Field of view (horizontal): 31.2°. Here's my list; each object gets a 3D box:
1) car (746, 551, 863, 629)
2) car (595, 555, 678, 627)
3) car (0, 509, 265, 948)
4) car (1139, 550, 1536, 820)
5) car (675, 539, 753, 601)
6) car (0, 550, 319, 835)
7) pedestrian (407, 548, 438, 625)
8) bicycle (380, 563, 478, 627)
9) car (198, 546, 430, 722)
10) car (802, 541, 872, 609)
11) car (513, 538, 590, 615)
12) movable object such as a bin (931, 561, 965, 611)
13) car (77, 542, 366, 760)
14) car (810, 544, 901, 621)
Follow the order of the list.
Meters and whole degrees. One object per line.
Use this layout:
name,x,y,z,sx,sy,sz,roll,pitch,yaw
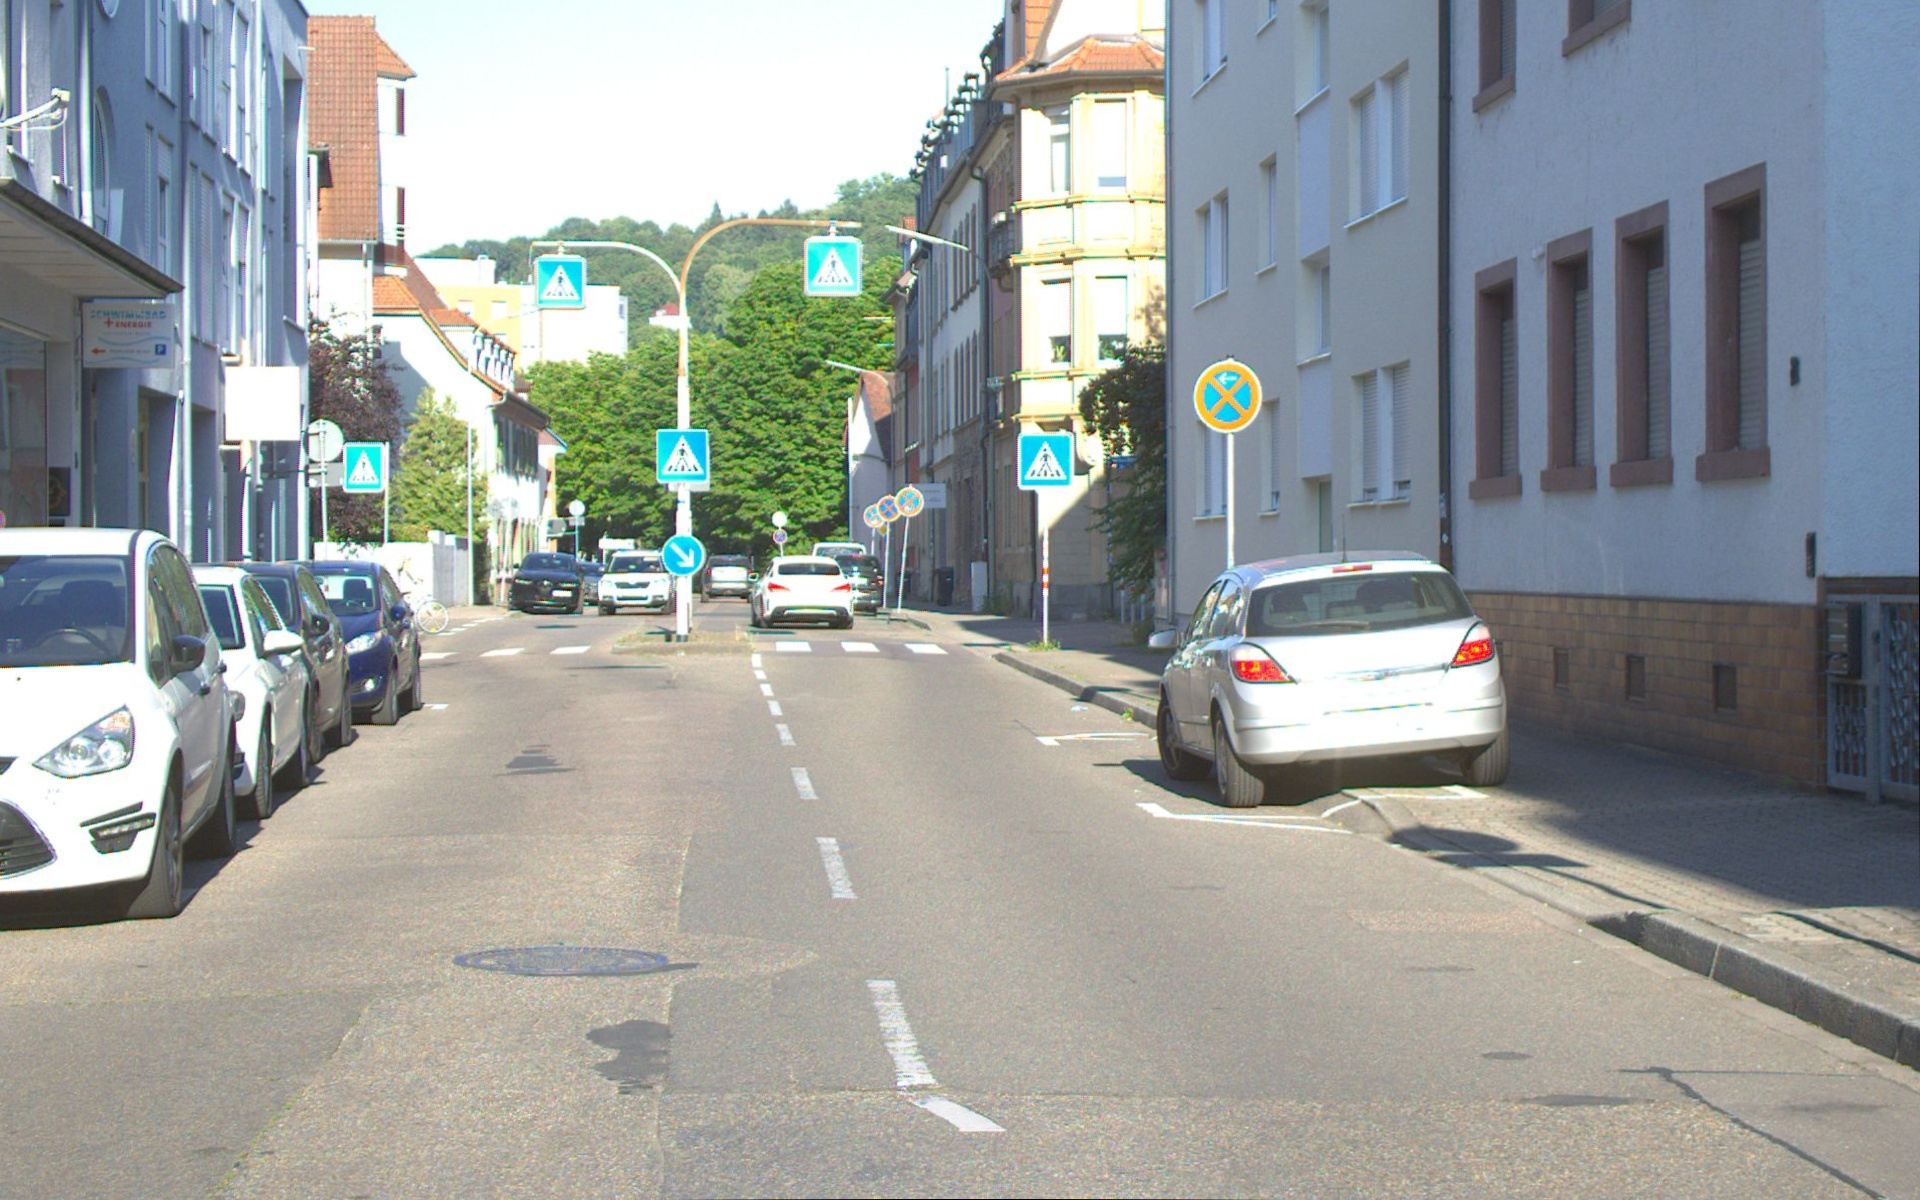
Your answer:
car,-3.063,-0.210,67.057,1.993,1.461,4.001,-1,1,-7
car,-8.193,-0.253,86.761,1.807,1.696,4.193,-3,1,-8
car,-4.311,0.437,15.388,1.993,1.642,5.223,0,1,-7
car,2.294,0.455,22.013,1.741,1.487,4.439,-2,1,-4
car,-8.355,-1.028,116.675,1.993,2.007,4.001,-1,1,-13
car,-4.994,0.485,20.939,1.764,1.490,4.127,-3,1,-6
pedestrian,-10.356,-0.260,66.217,0.556,1.467,0.601,-1,1,-8
bicycle,-10.167,-0.096,65.897,1.786,1.180,0.599,-1,1,-3
car,-5.895,0.285,31.735,1.730,1.494,3.960,-1,0,-5
car,-3.697,-0.774,102.851,1.840,1.899,4.001,-2,1,-5
car,-10.849,-0.647,91.598,1.993,2.007,4.001,0,1,-6
movable object such as a bin,-0.339,-0.395,97.584,0.871,1.373,0.685,-2,2,-4
car,-5.488,0.368,25.927,1.660,1.521,3.809,0,0,-5
car,-2.654,-0.462,86.500,2.010,1.846,4.001,1,1,-6
